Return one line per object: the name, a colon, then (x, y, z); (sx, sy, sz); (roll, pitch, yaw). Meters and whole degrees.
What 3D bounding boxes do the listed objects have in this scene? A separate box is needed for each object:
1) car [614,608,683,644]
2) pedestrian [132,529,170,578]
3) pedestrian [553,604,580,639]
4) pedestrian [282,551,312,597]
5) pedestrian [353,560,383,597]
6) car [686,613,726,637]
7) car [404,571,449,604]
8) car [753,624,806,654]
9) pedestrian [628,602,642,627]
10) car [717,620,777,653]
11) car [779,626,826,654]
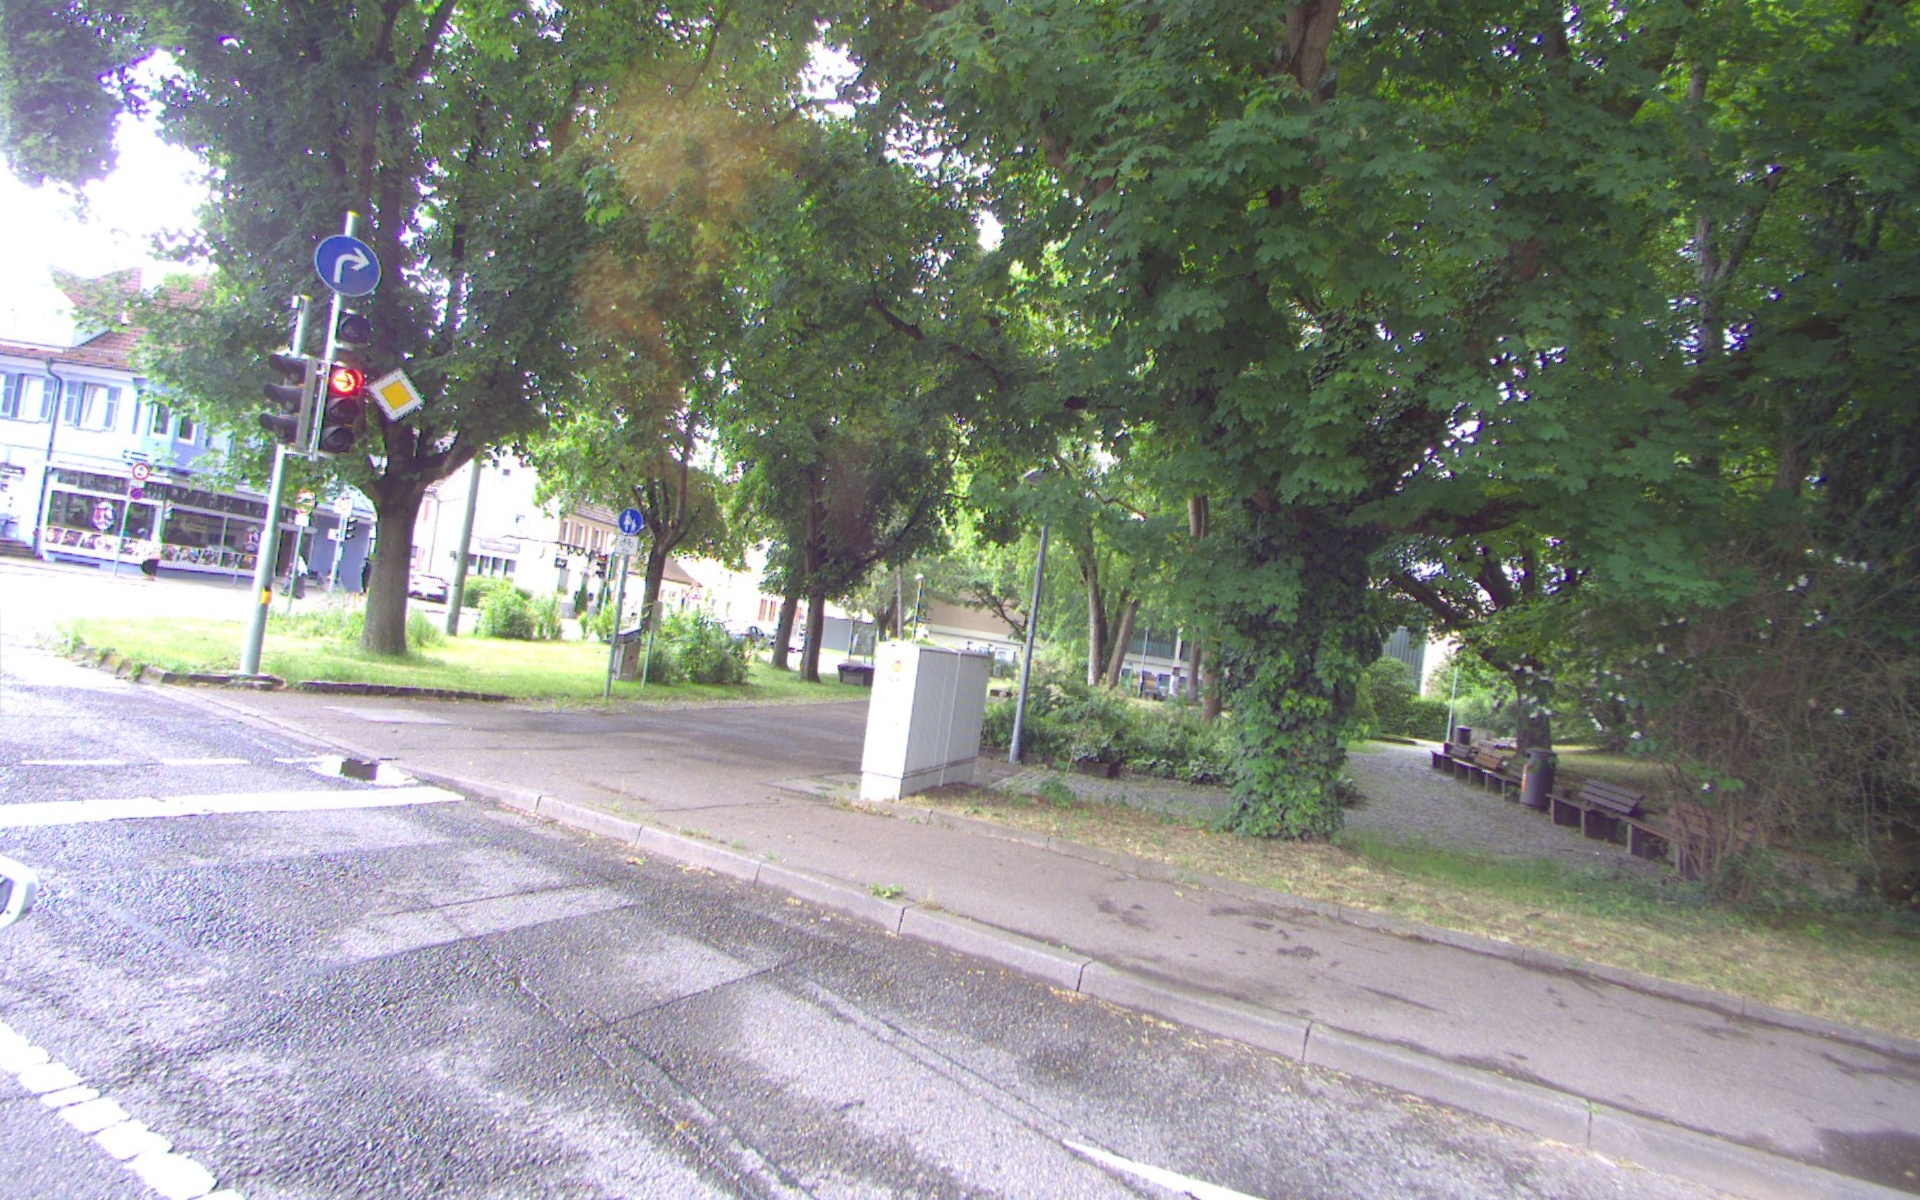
car: (-13.588, 1.155, 44.065); (1.436, 1.282, 3.014); (7, -2, 13)
pedestrian: (-27.824, -1.586, 34.619); (0.725, 1.578, 0.763); (7, -1, -27)
pedestrian: (-12.956, 0.706, 33.138); (0.506, 1.093, 0.507); (6, -1, 17)
pedestrian: (-24.222, -0.943, 36.780); (0.688, 1.578, 0.662); (7, -1, -27)
pedestrian: (-26.720, -0.966, 45.402); (0.732, 1.578, 0.673); (6, -1, 17)
car: (-19.005, 1.898, 75.458); (1.736, 1.463, 3.865); (7, -2, 2)
car: (-28.177, -0.691, 53.160); (1.870, 1.406, 3.589); (9, -2, -28)
car: (-10.702, 2.337, 59.907); (1.618, 1.474, 3.740); (7, -2, 13)
pedestrian: (-21.488, 0.941, 66.443); (0.500, 1.578, 0.505); (6, -1, 17)
car: (-11.565, 2.014, 54.933); (1.618, 1.474, 3.740); (7, -2, 13)
car: (-10.276, 2.654, 66.039); (1.618, 1.474, 3.740); (7, -2, 13)
